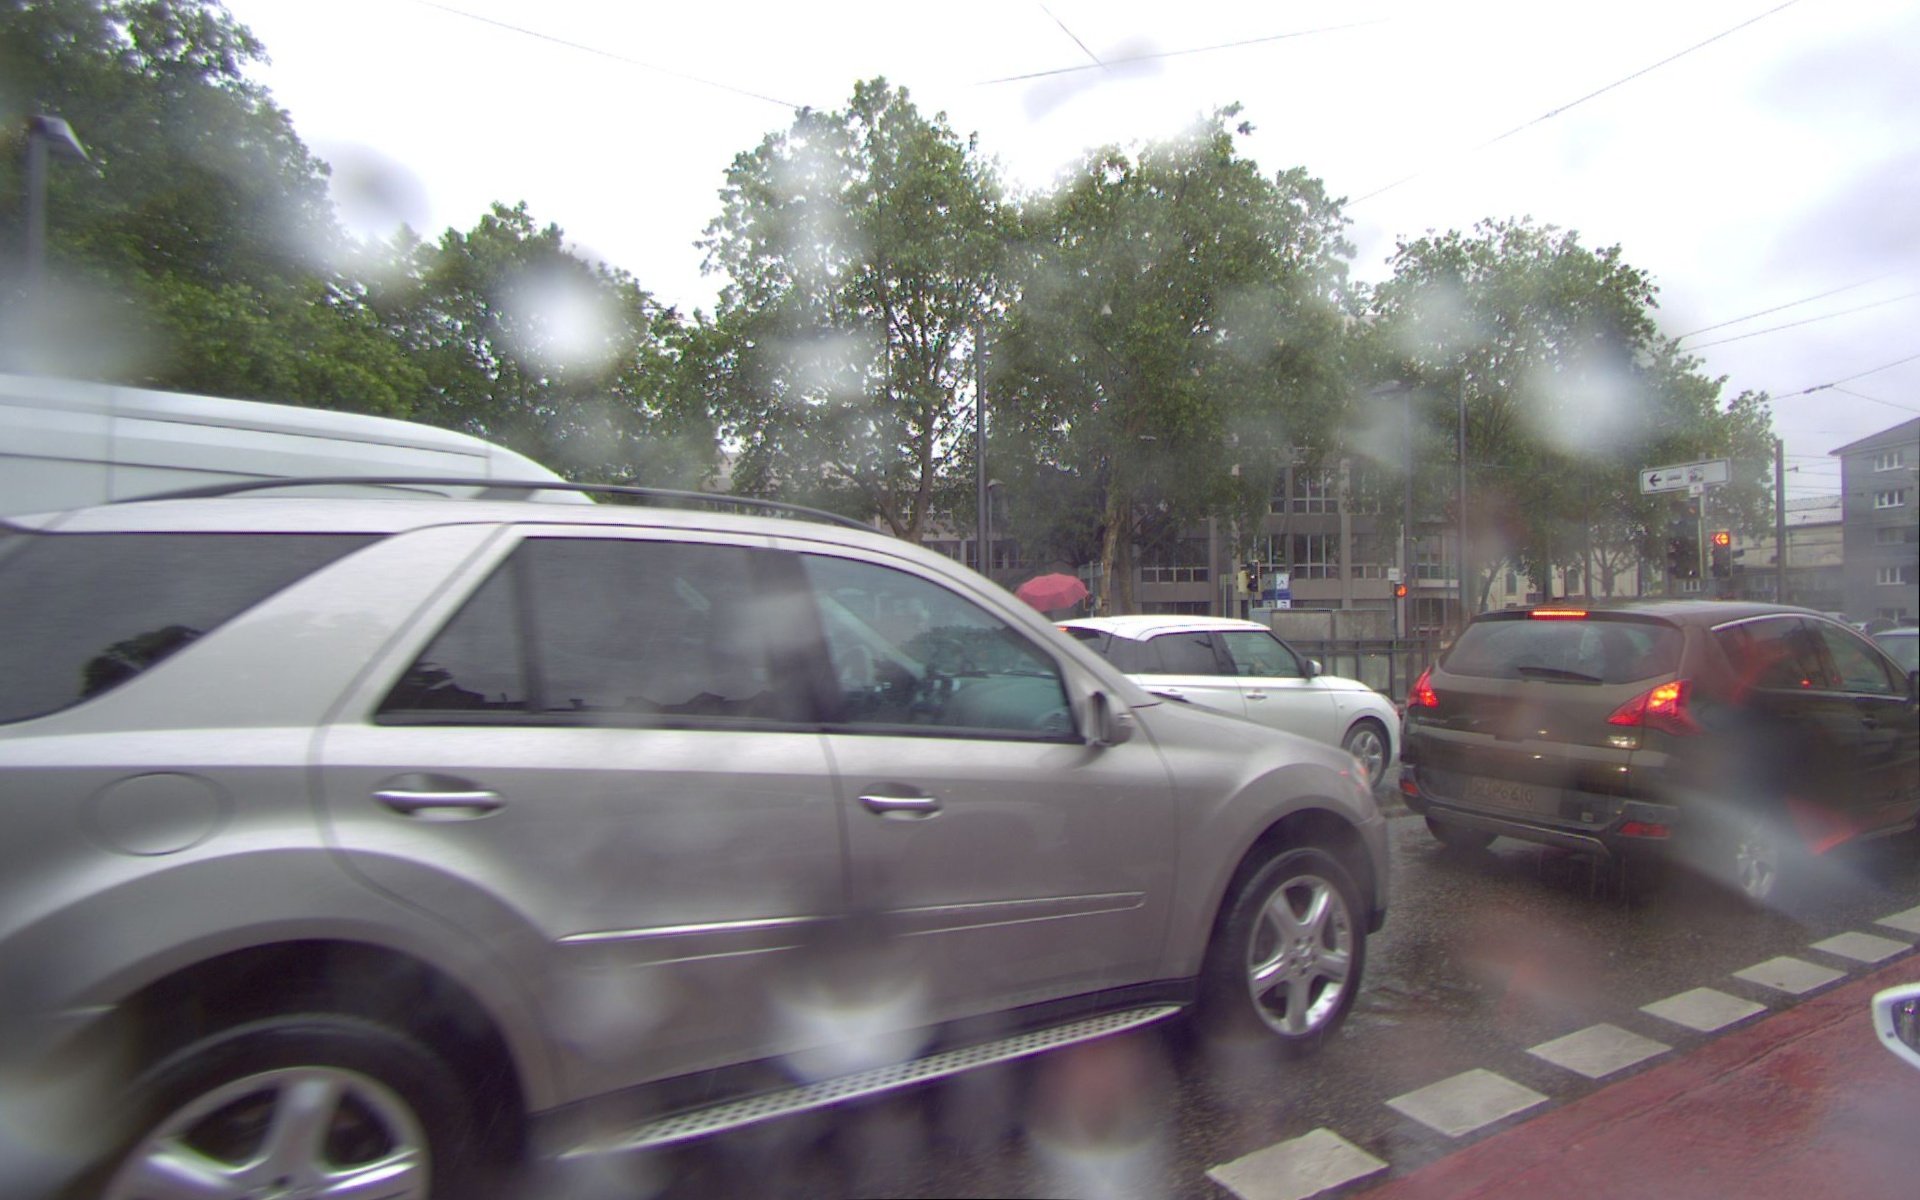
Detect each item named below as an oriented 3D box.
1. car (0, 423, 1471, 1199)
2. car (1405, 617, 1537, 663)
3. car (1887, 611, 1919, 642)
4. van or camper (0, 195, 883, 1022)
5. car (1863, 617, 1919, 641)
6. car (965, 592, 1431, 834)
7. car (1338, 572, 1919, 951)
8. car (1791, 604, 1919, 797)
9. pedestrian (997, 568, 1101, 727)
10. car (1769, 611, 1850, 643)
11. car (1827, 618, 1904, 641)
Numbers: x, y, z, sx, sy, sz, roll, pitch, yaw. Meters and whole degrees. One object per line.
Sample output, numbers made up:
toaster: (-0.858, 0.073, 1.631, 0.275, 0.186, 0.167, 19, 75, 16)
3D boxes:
car: (-0.603, 0.646, 3.265, 4.411, 1.794, 2.014, 1, 0, -31)
car: (15.736, 1.235, 30.986, 3.465, 1.332, 1.594, 1, 0, -16)
car: (65.383, 1.811, 67.791, 3.922, 2.040, 1.999, 1, 0, -3)
van or camper: (-3.473, 0.045, 5.271, 5.785, 3.183, 2.147, 0, -1, -32)
car: (66.201, 2.036, 70.504, 3.922, 1.550, 1.999, -1, 0, -3)
car: (2.077, 0.810, 8.529, 3.791, 1.650, 1.637, 1, -1, -30)
car: (4.525, 0.750, 6.315, 4.123, 1.690, 1.826, 1, 0, -30)
car: (9.631, 0.871, 9.356, 3.775, 1.599, 1.719, 1, 0, -30)
pedestrian: (1.031, 0.545, 11.727, 0.888, 1.769, 0.762, 0, -2, -30)
car: (64.043, 1.997, 75.737, 4.697, 2.228, 1.998, -1, 1, -6)
car: (65.705, 2.119, 72.935, 3.922, 1.516, 1.959, -1, 2, -3)
